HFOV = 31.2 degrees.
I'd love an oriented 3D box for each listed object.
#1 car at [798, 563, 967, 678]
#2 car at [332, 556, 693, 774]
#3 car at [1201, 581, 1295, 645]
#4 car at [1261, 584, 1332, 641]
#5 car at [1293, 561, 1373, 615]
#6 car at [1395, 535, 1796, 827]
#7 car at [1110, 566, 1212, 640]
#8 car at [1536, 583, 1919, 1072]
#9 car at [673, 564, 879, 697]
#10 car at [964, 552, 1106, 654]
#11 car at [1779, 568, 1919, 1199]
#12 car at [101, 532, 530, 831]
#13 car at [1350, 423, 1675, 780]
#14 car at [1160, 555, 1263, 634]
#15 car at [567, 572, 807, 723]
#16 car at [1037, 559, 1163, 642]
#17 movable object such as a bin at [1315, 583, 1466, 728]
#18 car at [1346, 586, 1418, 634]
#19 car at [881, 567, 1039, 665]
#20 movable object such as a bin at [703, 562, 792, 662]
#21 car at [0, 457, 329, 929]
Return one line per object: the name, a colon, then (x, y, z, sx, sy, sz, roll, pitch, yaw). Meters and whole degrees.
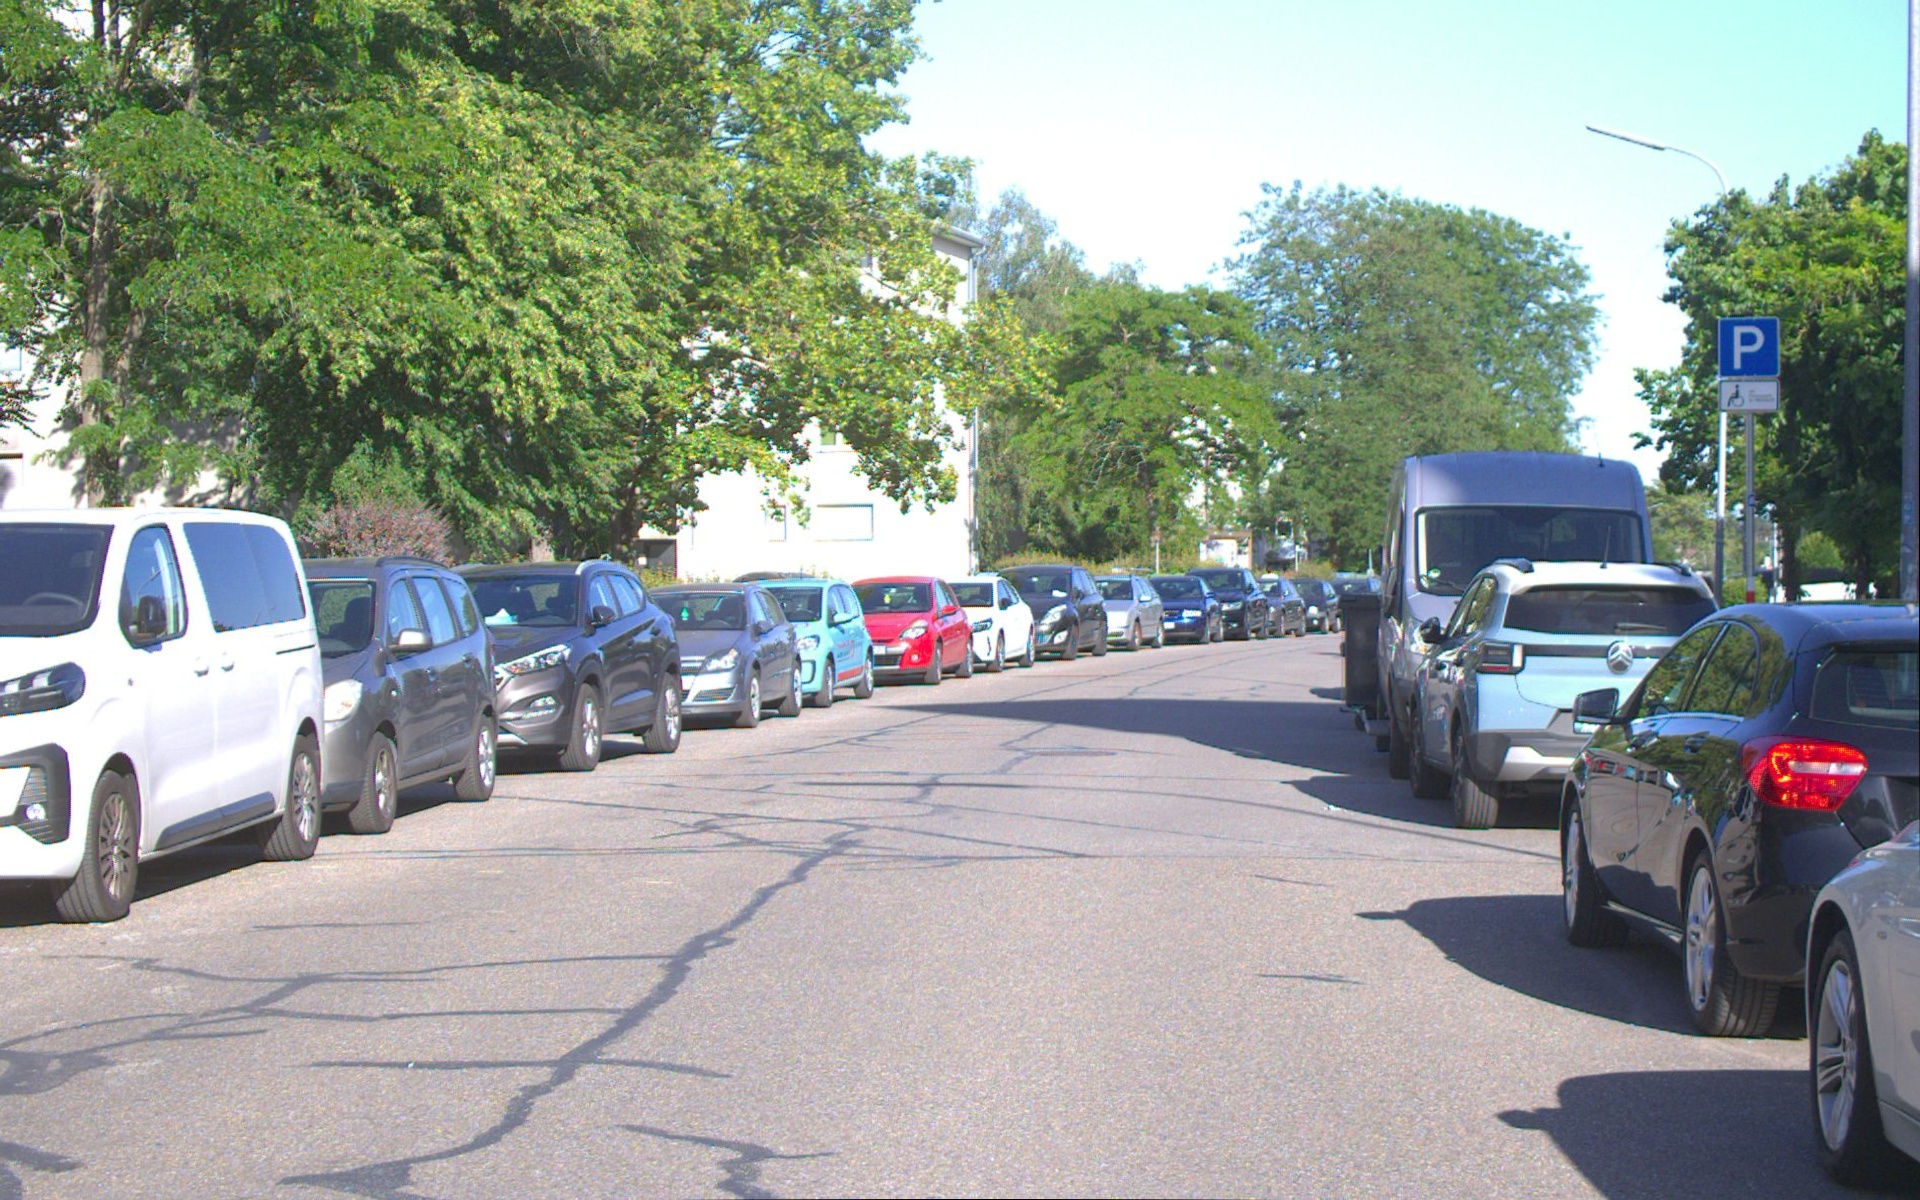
car: (-1.020, 0.266, 47.092, 1.671, 1.469, 3.677, -1, 0, 9)
car: (-3.510, 0.466, 27.795, 1.749, 1.612, 4.361, 0, 0, 9)
car: (6.834, 0.285, 81.394, 1.661, 1.434, 3.757, -2, 0, 13)
car: (8.732, 0.302, 89.136, 1.390, 1.408, 3.123, -2, 0, 13)
car: (10.418, -0.342, 95.839, 1.511, 1.446, 3.688, -2, 0, 17)
car: (3.905, 0.457, 21.827, 1.910, 1.661, 4.375, 0, 0, 3)
car: (4.168, 0.053, 70.892, 1.661, 1.422, 4.047, -2, 0, 9)
car: (3.343, 0.683, 12.607, 1.910, 1.483, 4.375, 0, 0, 3)
car: (-2.115, 0.338, 40.509, 1.671, 1.469, 3.677, -1, 0, 9)
car: (1.337, 0.041, 59.274, 1.671, 1.661, 4.404, -1, 0, 11)
car: (3.011, 0.673, 6.803, 1.910, 1.483, 4.375, 0, 0, 3)
car: (-3.987, 0.451, 21.972, 1.556, 1.716, 4.340, 0, 0, 5)
car: (4.238, -0.003, 27.269, 2.105, 2.478, 5.854, 1, 0, 5)
car: (5.623, -0.126, 76.531, 1.661, 1.682, 4.047, -2, 0, 13)
car: (-2.737, 0.456, 35.293, 1.671, 1.432, 3.999, -1, 0, 7)
car: (2.701, 0.003, 65.579, 1.661, 1.481, 4.050, -2, 0, 13)
movable object such as a bin: (4.104, 0.520, 32.682, 1.270, 1.309, 1.121, -1, 2, 14)
car: (12.514, 0.279, 101.875, 1.511, 1.359, 3.464, -2, 0, 17)
car: (0.035, 0.233, 52.631, 1.671, 1.416, 3.899, -1, 0, 11)
movable object such as a bin: (-3.228, 0.171, 52.382, 1.111, 1.493, 1.408, 0, 1, 7)
car: (-4.542, 0.371, 16.632, 1.863, 1.954, 4.670, 0, 0, 3)
